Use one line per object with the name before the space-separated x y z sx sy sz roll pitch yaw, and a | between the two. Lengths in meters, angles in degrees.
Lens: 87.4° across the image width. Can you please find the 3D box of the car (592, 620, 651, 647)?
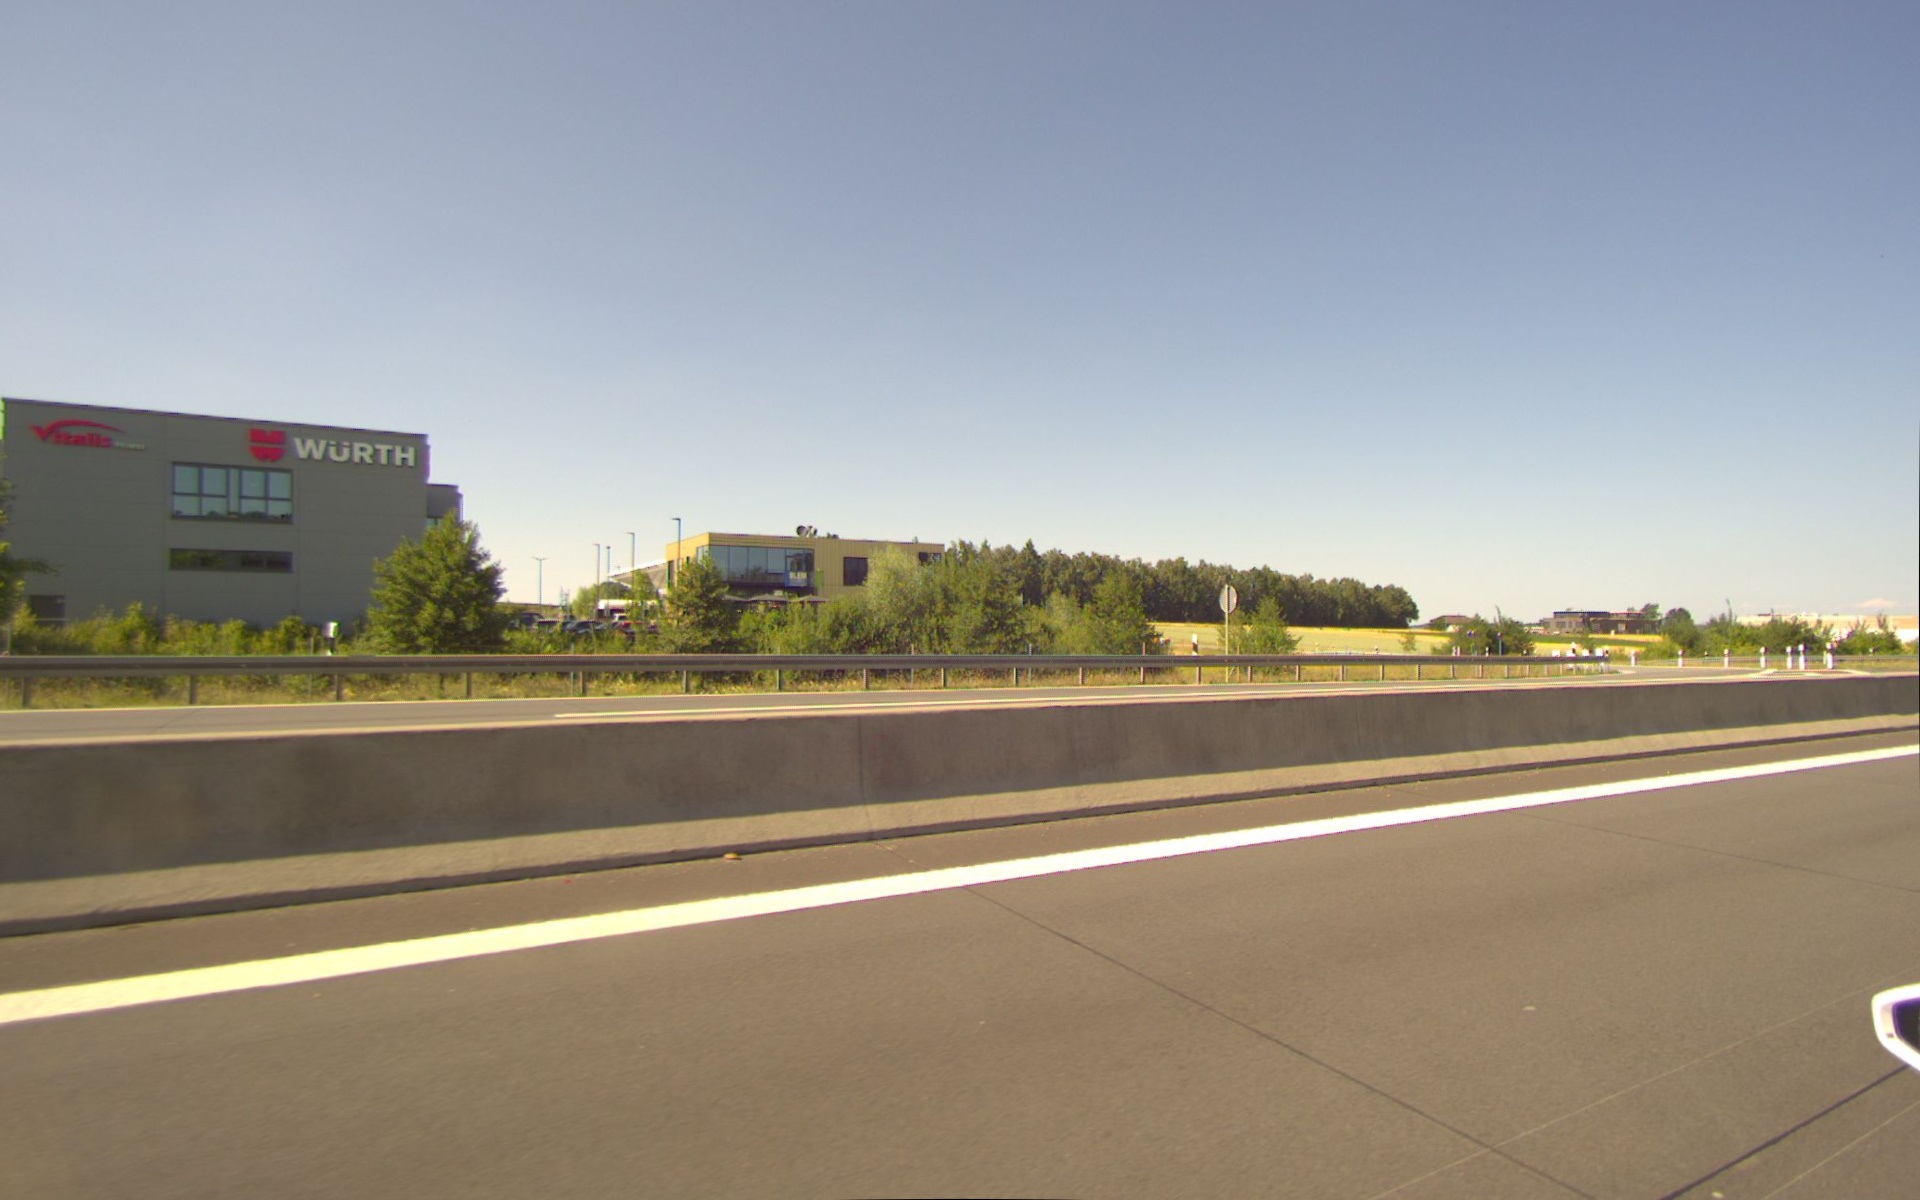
car | -21.545 2.126 63.860 3.946 1.617 1.988 0 -1 45
